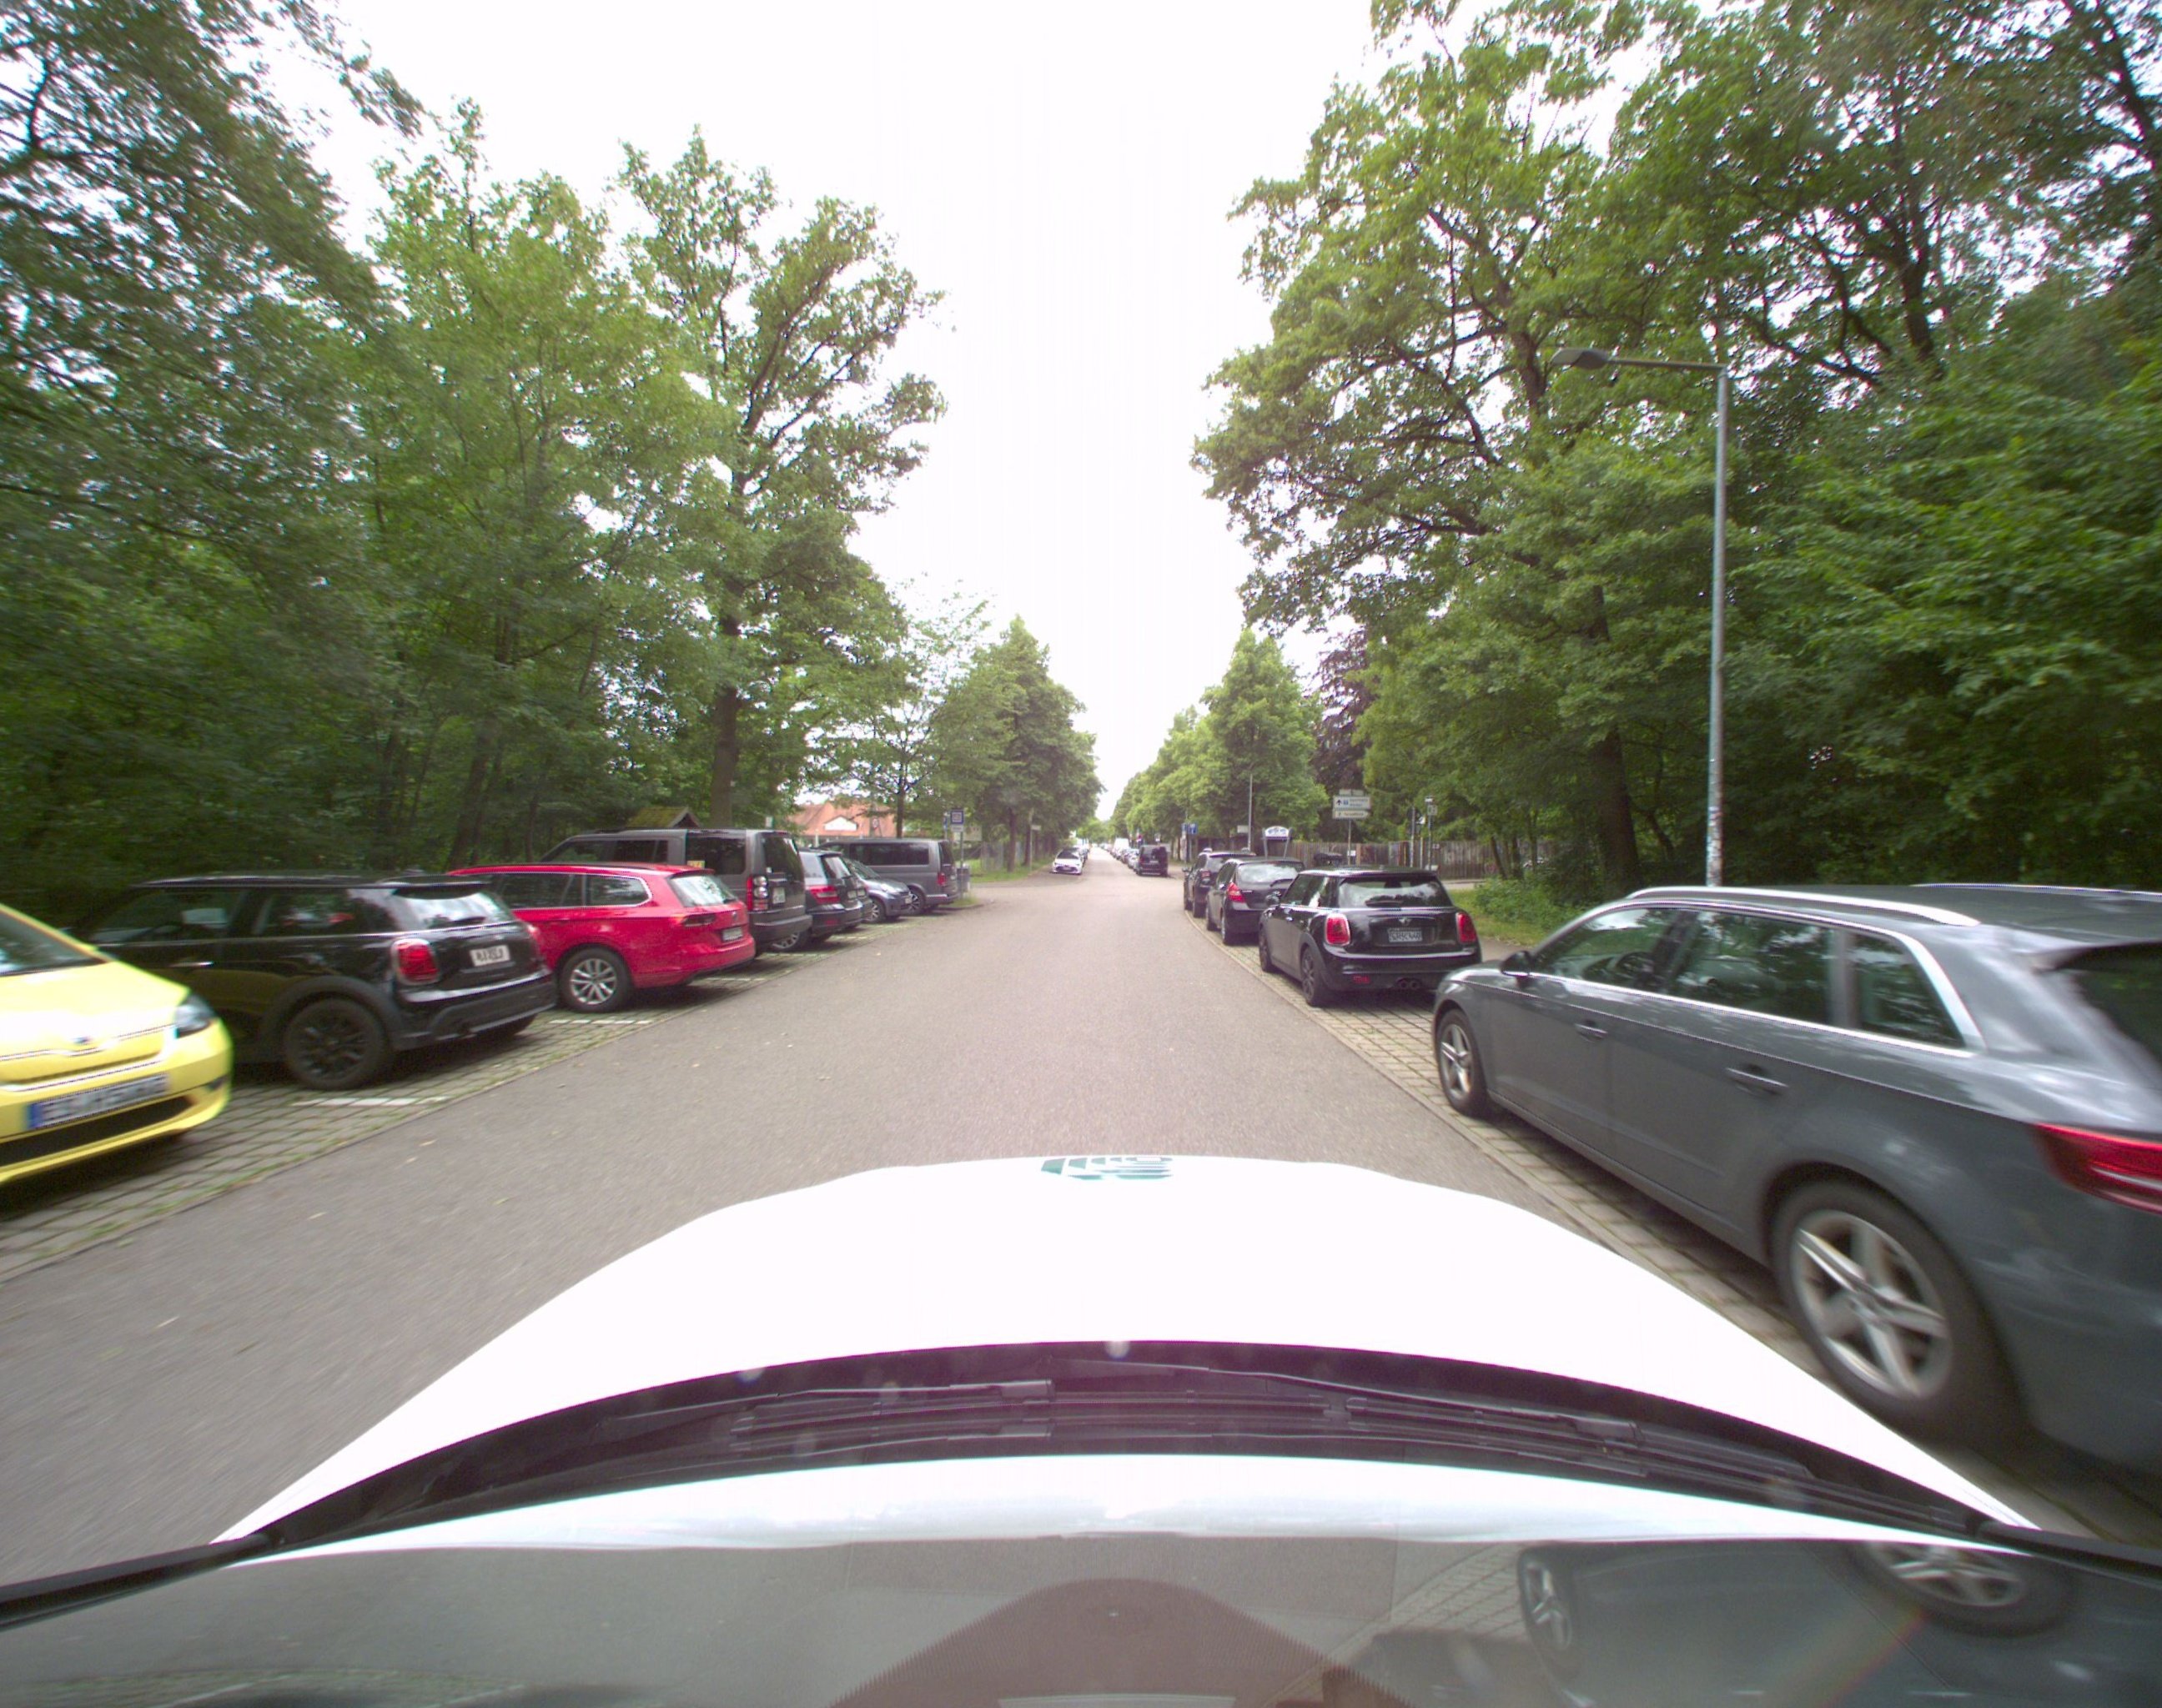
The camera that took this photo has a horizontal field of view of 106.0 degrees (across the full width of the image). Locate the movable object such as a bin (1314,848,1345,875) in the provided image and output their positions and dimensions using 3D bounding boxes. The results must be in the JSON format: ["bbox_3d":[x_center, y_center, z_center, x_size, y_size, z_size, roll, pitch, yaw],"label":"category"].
[{"bbox_3d":[13.156,0.406,43.137,1.293,1.442,1.066,1,-1,-43],"label":"movable object such as a bin"}]

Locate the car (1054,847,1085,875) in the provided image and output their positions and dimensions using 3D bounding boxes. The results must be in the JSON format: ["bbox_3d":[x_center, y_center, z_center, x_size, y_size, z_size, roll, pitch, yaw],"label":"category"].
[{"bbox_3d":[-0.741,0.401,50.194,1.760,1.596,4.214,2,0,-1],"label":"car"}]

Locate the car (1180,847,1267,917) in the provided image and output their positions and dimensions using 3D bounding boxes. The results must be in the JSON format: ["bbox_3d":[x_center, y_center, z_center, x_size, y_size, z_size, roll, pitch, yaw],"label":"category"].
[{"bbox_3d":[3.578,0.650,21.115,1.729,1.633,4.378,0,0,3],"label":"car"}]

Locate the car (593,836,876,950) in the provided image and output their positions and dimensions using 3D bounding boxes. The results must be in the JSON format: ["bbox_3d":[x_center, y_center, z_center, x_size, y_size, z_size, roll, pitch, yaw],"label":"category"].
[{"bbox_3d":[-5.711,0.617,13.805,3.975,1.765,1.823,1,0,-1],"label":"car"}]

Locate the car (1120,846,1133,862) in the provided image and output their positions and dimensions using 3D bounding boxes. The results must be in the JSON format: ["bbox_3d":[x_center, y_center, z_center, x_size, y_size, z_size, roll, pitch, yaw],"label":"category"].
[{"bbox_3d":[5.432,-0.010,97.128,1.463,1.967,3.191,0,0,2],"label":"car"}]

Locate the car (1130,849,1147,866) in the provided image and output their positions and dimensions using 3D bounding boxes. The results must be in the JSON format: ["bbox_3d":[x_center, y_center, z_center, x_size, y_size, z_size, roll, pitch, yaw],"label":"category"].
[{"bbox_3d":[5.116,0.286,72.380,1.463,1.531,3.191,0,0,2],"label":"car"}]

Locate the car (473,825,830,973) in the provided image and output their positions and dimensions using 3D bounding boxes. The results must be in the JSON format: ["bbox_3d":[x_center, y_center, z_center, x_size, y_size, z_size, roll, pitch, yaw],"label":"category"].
[{"bbox_3d":[-5.791,0.577,11.368,3.973,1.862,1.813,1,0,0],"label":"car"}]

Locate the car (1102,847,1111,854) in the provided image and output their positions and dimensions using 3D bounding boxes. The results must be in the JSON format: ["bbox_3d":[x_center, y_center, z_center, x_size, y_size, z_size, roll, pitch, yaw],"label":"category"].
[{"bbox_3d":[6.411,-0.962,204.379,1.889,1.706,4.069,0,-1,5],"label":"car"}]

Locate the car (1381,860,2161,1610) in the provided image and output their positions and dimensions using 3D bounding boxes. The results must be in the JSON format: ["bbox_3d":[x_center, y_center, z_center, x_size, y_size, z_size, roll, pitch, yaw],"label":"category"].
[{"bbox_3d":[3.023,0.756,3.753,1.730,1.432,4.503,0,0,1],"label":"car"}]

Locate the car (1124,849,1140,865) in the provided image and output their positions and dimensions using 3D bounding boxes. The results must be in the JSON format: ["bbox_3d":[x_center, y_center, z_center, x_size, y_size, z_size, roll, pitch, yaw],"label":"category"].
[{"bbox_3d":[5.071,0.285,81.030,1.463,1.531,3.191,0,0,2],"label":"car"}]

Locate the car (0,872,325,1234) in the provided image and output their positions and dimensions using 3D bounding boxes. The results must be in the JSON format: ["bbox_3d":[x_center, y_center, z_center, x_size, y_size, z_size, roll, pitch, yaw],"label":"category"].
[{"bbox_3d":[-6.417,0.822,3.947,3.973,1.438,1.618,1,0,1],"label":"car"}]

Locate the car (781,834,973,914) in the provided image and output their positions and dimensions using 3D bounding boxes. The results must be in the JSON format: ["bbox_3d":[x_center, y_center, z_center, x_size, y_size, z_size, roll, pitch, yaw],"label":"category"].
[{"bbox_3d":[-5.193,0.512,21.225,4.488,1.978,1.890,0,-1,-1],"label":"car"}]

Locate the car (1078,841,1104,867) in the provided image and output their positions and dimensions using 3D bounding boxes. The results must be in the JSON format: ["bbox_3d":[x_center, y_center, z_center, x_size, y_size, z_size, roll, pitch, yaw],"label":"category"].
[{"bbox_3d":[0.846,0.005,64.774,1.986,2.013,4.001,1,0,1],"label":"car"}]

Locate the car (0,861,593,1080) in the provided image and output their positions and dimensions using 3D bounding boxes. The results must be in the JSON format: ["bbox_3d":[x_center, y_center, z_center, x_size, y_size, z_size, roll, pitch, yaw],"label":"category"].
[{"bbox_3d":[-6.321,0.804,6.334,3.976,1.438,1.670,1,0,-2],"label":"car"}]

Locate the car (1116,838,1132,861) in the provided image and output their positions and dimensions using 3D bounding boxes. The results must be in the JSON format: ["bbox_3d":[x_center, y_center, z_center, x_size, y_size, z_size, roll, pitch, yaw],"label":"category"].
[{"bbox_3d":[5.822,-0.620,110.646,2.175,3.015,4.900,0,0,2],"label":"car"}]

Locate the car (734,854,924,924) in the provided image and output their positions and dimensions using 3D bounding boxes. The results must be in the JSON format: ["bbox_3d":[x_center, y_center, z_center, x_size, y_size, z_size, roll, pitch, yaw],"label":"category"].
[{"bbox_3d":[-5.800,0.792,19.051,3.798,1.512,1.811,-1,0,3],"label":"car"}]

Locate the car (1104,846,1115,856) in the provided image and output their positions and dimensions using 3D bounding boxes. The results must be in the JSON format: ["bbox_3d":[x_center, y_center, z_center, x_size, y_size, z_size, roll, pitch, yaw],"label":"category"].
[{"bbox_3d":[6.005,-0.606,170.862,1.984,2.014,4.005,0,-1,5],"label":"car"}]

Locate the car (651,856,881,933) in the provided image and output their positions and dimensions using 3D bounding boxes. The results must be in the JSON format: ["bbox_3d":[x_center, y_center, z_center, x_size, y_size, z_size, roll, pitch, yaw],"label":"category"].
[{"bbox_3d":[-6.289,0.774,16.576,3.972,1.430,1.721,1,0,1],"label":"car"}]

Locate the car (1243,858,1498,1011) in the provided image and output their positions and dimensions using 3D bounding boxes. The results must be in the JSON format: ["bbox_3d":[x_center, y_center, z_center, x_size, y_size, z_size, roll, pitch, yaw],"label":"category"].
[{"bbox_3d":[3.188,0.774,9.973,1.729,1.432,4.505,0,0,3],"label":"car"}]

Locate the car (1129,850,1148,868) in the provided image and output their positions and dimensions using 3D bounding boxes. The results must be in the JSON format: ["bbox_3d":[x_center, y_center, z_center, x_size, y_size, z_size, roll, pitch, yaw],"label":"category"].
[{"bbox_3d":[4.726,0.410,67.051,1.463,1.481,3.191,0,0,2],"label":"car"}]

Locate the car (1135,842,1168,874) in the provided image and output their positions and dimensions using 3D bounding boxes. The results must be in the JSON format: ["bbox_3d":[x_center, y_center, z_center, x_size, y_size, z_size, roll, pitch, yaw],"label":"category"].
[{"bbox_3d":[4.538,0.229,52.765,1.980,2.013,4.111,0,0,2],"label":"car"}]

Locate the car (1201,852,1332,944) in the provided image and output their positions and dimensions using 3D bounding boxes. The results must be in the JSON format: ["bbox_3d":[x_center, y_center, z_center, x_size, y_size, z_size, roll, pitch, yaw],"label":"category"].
[{"bbox_3d":[3.328,0.714,15.386,1.729,1.495,4.237,0,0,3],"label":"car"}]

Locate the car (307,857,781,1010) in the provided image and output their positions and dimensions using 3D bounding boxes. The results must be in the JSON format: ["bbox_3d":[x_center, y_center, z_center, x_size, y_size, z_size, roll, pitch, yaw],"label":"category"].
[{"bbox_3d":[-5.637,0.797,8.964,3.975,1.476,1.779,1,0,-1],"label":"car"}]
